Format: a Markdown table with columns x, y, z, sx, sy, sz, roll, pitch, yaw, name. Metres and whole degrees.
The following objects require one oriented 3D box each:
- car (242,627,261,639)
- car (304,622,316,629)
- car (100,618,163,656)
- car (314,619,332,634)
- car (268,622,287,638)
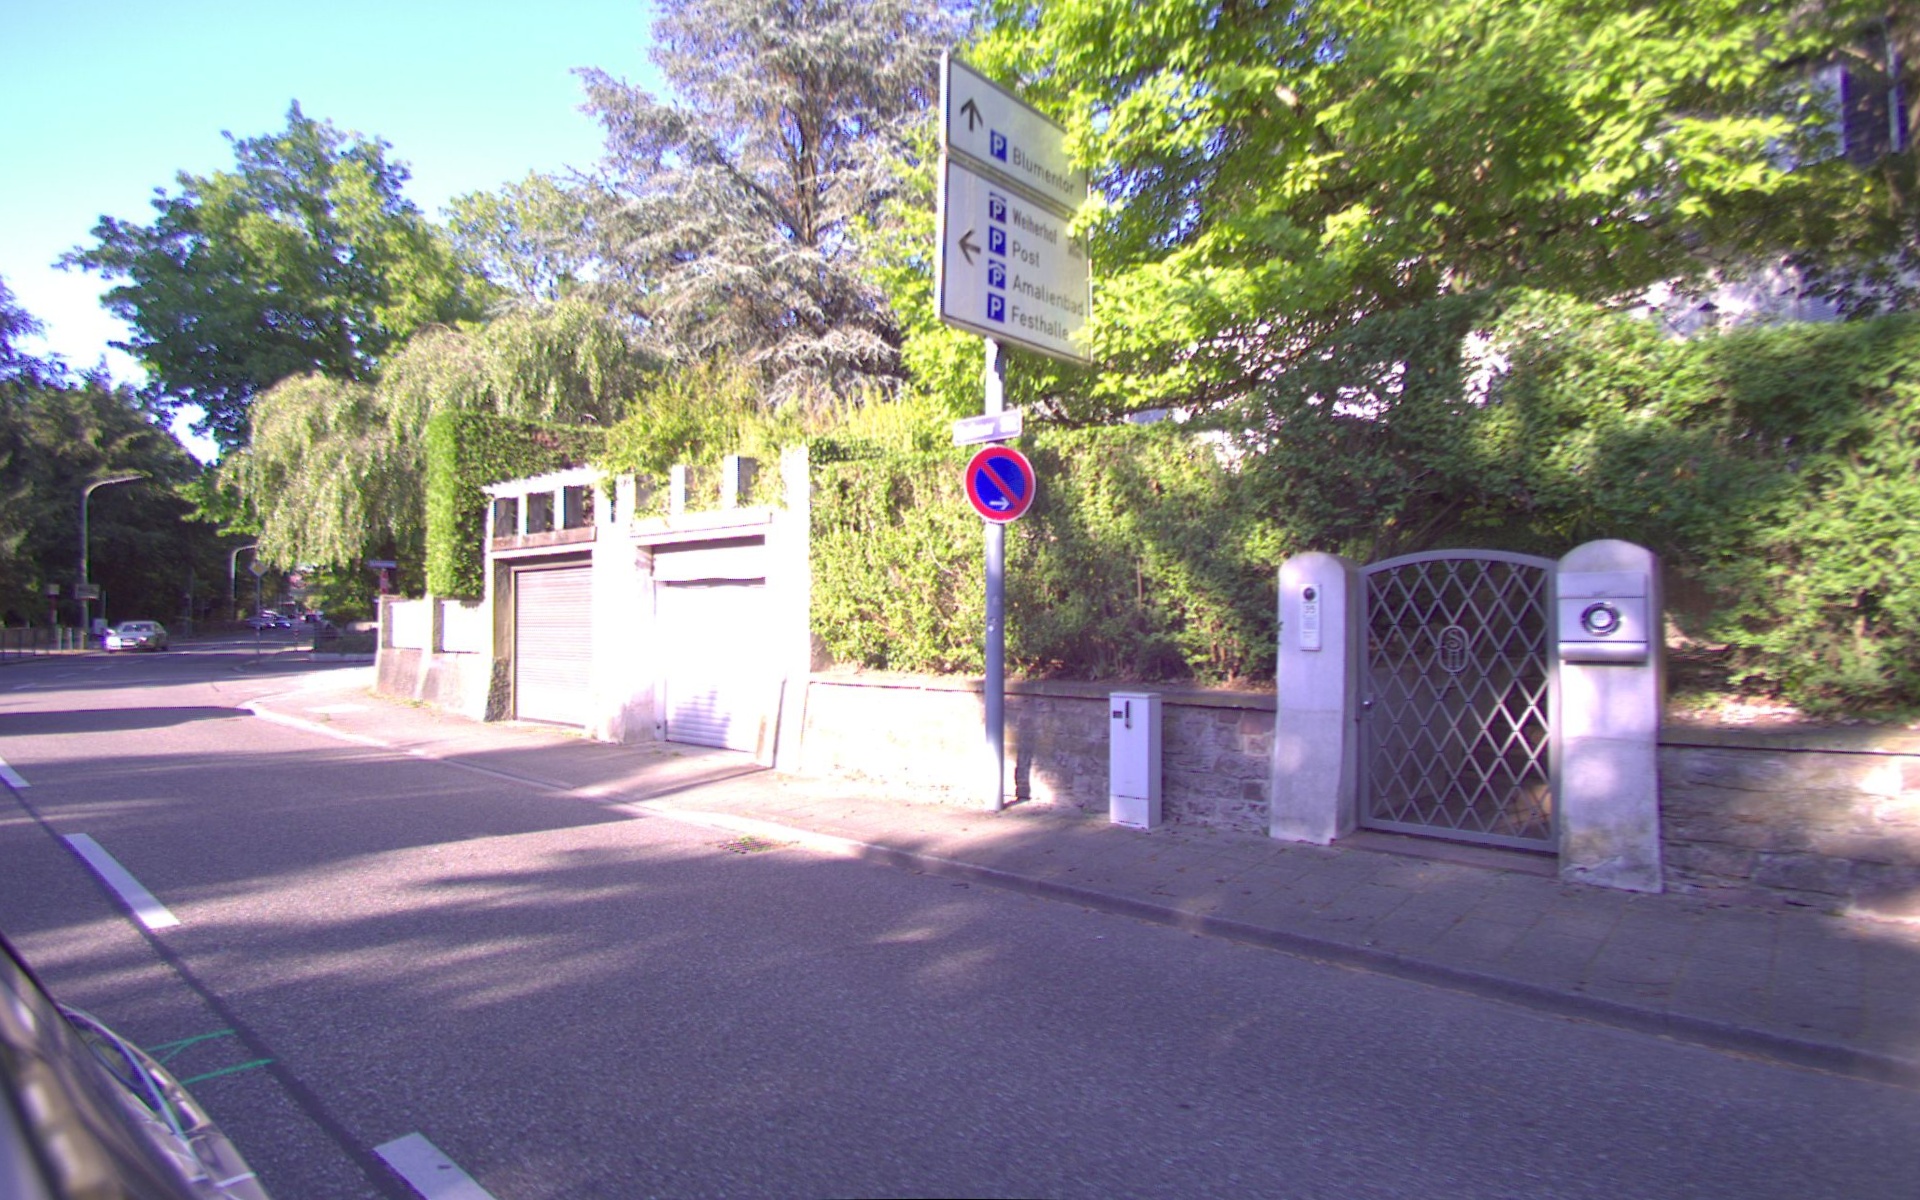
| x | y | z | sx | sy | sz | roll | pitch | yaw | name |
| --- | --- | --- | --- | --- | --- | --- | --- | --- | --- |
| -87.273 | 4.048 | 124.661 | 1.795 | 1.393 | 3.945 | 4 | -3 | -35 | car |
| -135.438 | 5.254 | 210.793 | 1.795 | 1.393 | 3.945 | 4 | -3 | -35 | car |
| -39.019 | 1.703 | 47.740 | 1.967 | 1.652 | 4.010 | -2 | 0 | -35 | car |
| -71.023 | 2.958 | 112.864 | 1.662 | 1.445 | 3.626 | -3 | 0 | -32 | car |
| -90.547 | 3.999 | 134.277 | 1.966 | 2.029 | 4.011 | 0 | -1 | -34 | car |
